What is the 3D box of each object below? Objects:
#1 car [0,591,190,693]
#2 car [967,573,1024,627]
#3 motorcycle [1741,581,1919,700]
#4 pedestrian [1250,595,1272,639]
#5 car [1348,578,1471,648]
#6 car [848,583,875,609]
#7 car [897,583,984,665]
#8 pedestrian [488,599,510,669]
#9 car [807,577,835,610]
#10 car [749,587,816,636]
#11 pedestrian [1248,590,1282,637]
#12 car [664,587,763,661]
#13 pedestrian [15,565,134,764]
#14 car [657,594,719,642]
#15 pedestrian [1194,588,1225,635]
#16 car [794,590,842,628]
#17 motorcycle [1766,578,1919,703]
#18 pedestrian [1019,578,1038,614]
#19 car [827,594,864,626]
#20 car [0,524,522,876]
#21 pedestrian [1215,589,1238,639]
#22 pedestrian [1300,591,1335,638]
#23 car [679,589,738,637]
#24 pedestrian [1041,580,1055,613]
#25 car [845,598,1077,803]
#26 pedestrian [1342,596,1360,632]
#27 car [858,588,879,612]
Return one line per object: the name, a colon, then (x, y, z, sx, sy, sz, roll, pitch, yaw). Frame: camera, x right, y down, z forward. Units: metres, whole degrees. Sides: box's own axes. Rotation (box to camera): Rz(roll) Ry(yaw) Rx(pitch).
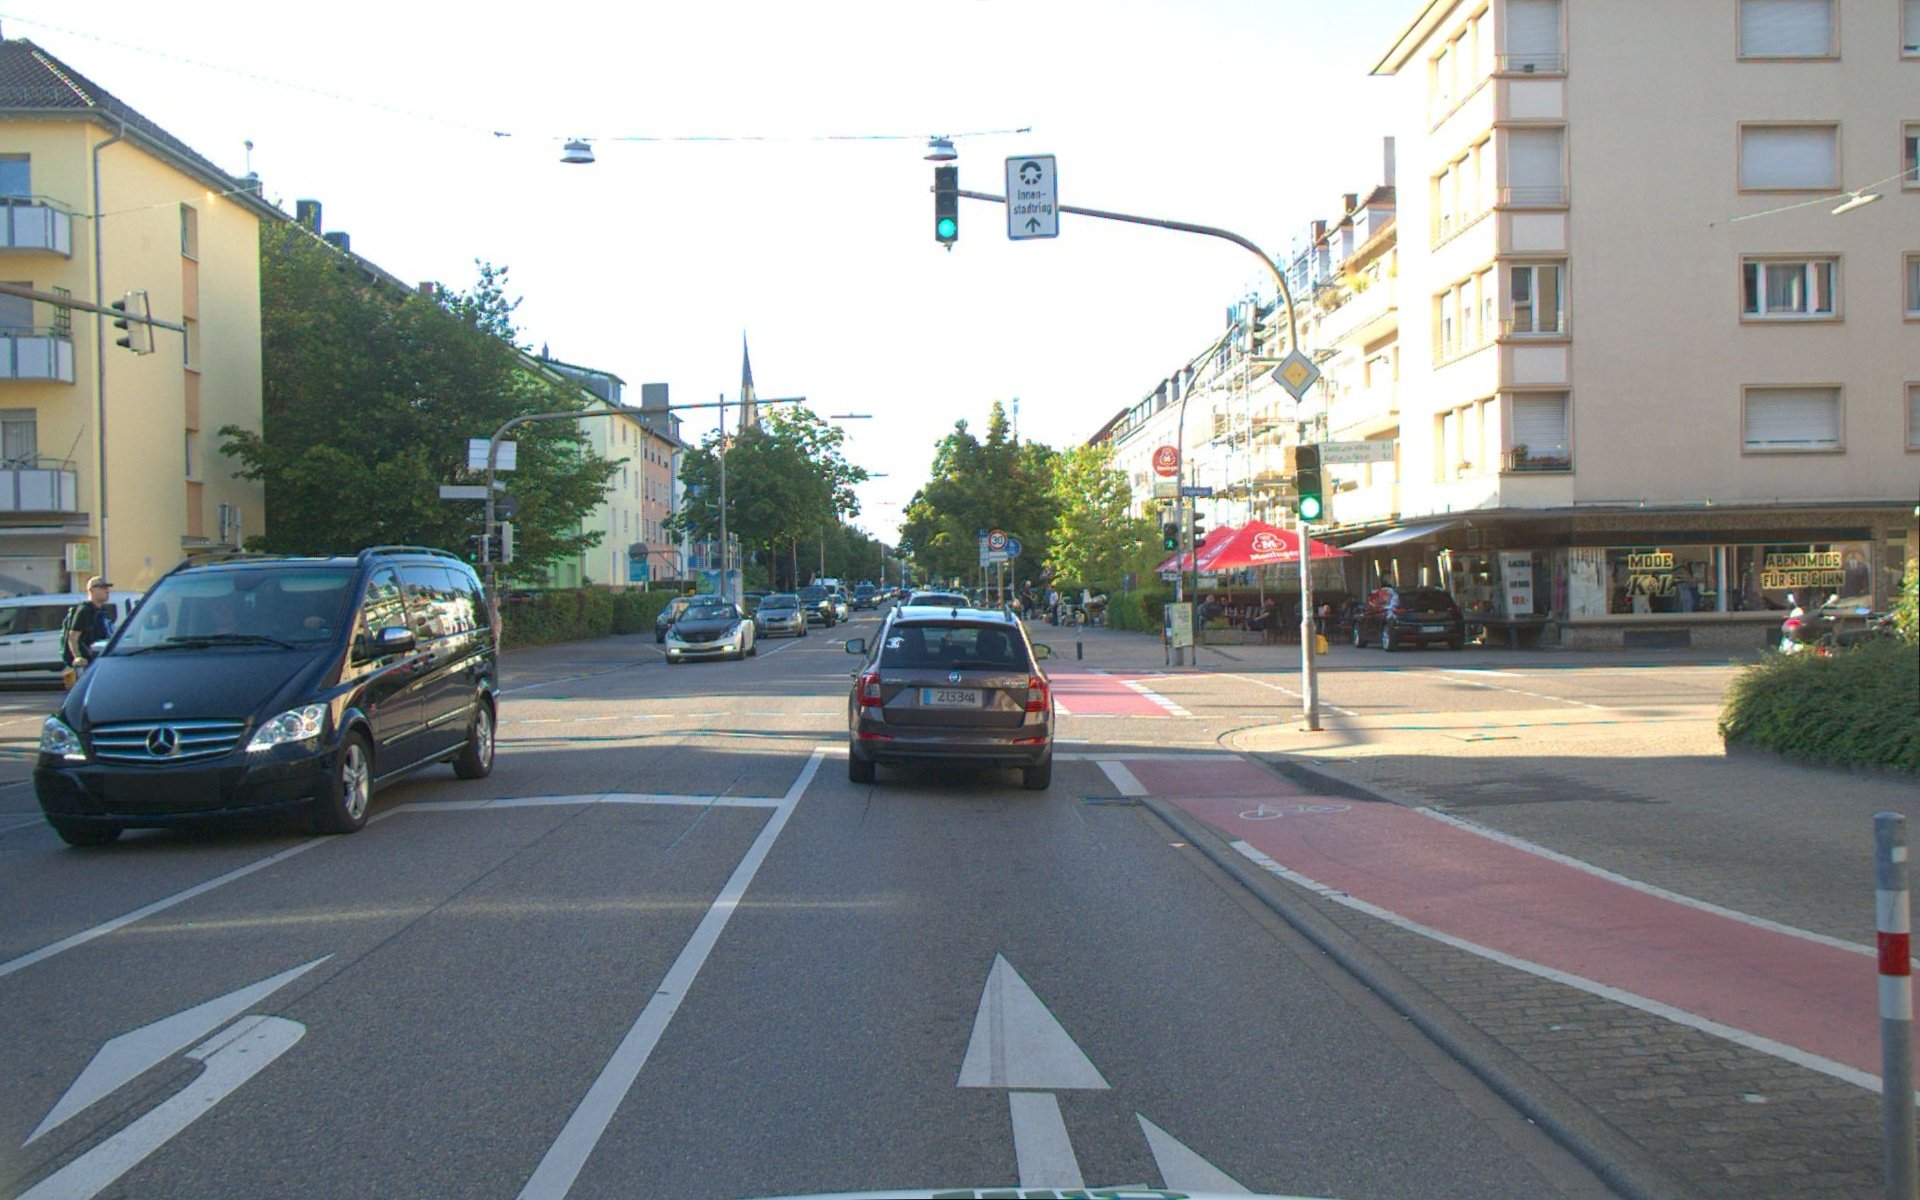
car: (-17.549, 0.804, 31.844, 4.541, 1.843, 1.861, -1, 0, -2)
car: (1.258, -0.004, 58.731, 1.952, 1.803, 4.001, 1, 0, 1)
motorcycle: (10.575, 0.485, 20.039, 1.874, 1.385, 0.694, -1, 0, 3)
pedestrian: (8.166, 0.454, 44.936, 0.495, 1.197, 0.428, -1, 0, -2)
car: (10.446, 0.279, 38.715, 1.740, 1.512, 3.999, -1, 0, -1)
car: (-7.875, -0.336, 132.427, 1.953, 2.049, 3.999, -1, 0, -1)
car: (-0.407, 0.464, 34.629, 1.701, 1.598, 3.999, 1, 0, -1)
pedestrian: (-10.134, 0.743, 36.377, 0.294, 1.530, 0.640, -1, 0, -1)
car: (-10.964, -0.483, 130.705, 1.953, 2.521, 3.999, -1, 0, -2)
car: (-6.228, 0.377, 58.395, 1.953, 1.639, 3.999, -1, 0, -1)
pedestrian: (8.085, 0.363, 43.885, 0.714, 1.219, 0.855, -1, 0, -1)
car: (-5.805, 0.533, 39.314, 1.793, 1.607, 3.999, -1, 0, -1)
pedestrian: (-9.271, 0.659, 17.342, 0.764, 2.022, 0.821, -1, 0, -1)
car: (-8.867, 0.558, 54.153, 1.492, 1.482, 3.584, -1, 0, -1)
pedestrian: (6.576, 0.301, 43.611, 0.664, 1.219, 0.855, -1, 0, -1)
car: (-6.195, 0.358, 72.506, 1.751, 1.598, 3.999, 1, 0, -1)
motorcycle: (10.451, 0.456, 19.144, 1.874, 1.385, 0.694, -1, 0, 3)
pedestrian: (3.339, -0.194, 80.616, 0.661, 1.734, 0.800, -1, 0, 25)
car: (-5.960, 0.487, 86.390, 1.669, 1.577, 4.001, -1, 0, -1)
car: (-4.823, 0.569, 12.121, 1.954, 1.942, 4.962, -3, 0, -2)
pedestrian: (7.193, 0.374, 44.635, 0.489, 1.325, 0.506, -1, 0, -4)
pedestrian: (9.512, 0.386, 44.059, 0.714, 1.219, 0.855, -1, 0, -1)
car: (-9.002, 0.446, 59.464, 1.528, 1.646, 3.999, -1, 0, -1)
pedestrian: (4.294, -0.170, 80.972, 0.567, 1.590, 0.518, -1, 0, -11)
car: (-0.064, 0.746, 14.538, 1.737, 1.515, 4.309, 0, 0, -2)
pedestrian: (11.420, 0.407, 48.290, 0.364, 1.013, 0.522, -1, 0, -1)
car: (-9.240, -0.025, 167.894, 1.953, 2.368, 3.999, -1, 0, -2)
